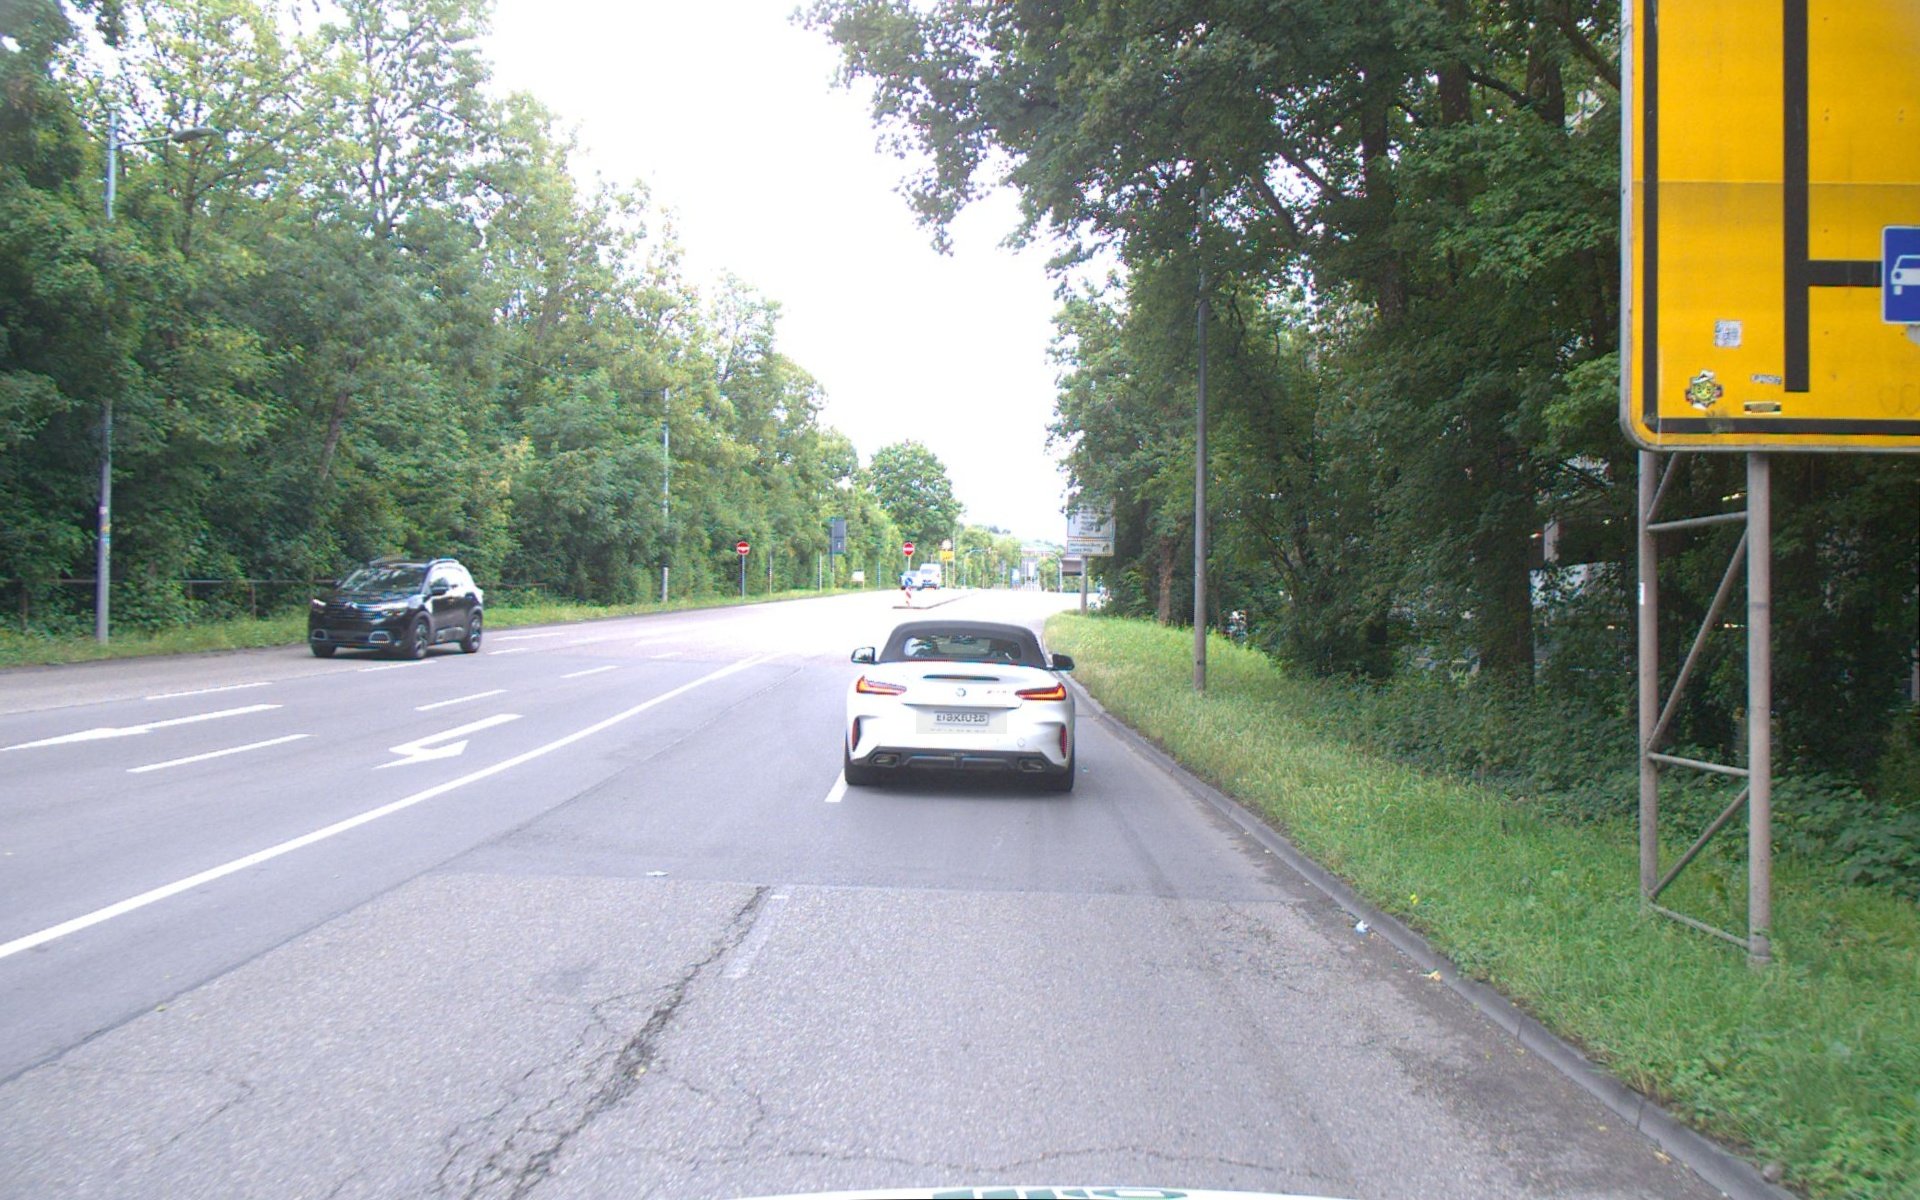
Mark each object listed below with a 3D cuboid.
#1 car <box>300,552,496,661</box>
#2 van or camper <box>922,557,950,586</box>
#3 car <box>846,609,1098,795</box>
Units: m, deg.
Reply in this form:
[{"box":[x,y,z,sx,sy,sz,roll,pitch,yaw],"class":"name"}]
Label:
[{"box":[-9.734,0.118,29.005,1.784,1.682,4.222,3,0,2],"class":"car"},{"box":[-2.467,-2.924,172.420,2.236,2.598,6.862,5,0,3],"class":"van or camper"},{"box":[0.078,0.764,14.212,1.836,1.332,3.872,2,0,0],"class":"car"}]
